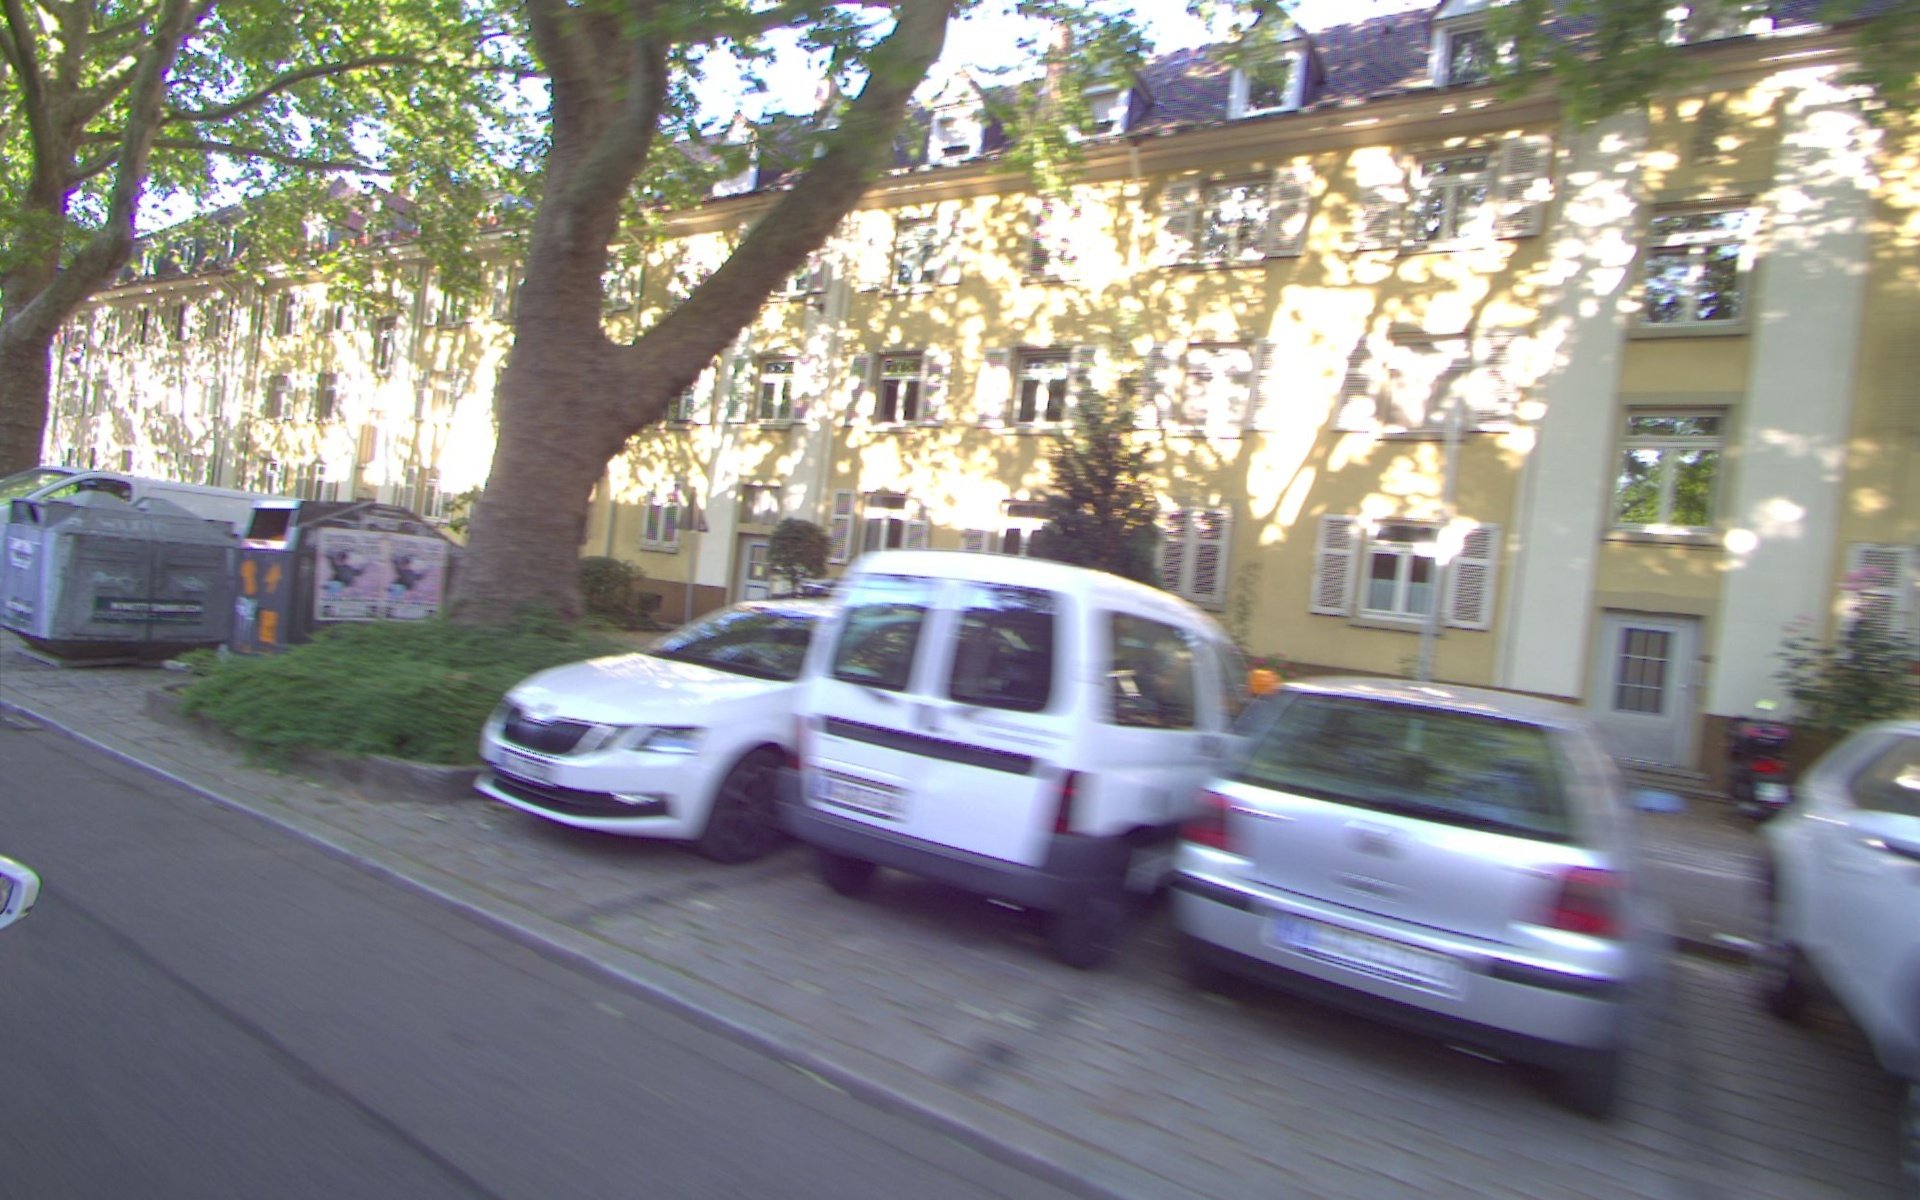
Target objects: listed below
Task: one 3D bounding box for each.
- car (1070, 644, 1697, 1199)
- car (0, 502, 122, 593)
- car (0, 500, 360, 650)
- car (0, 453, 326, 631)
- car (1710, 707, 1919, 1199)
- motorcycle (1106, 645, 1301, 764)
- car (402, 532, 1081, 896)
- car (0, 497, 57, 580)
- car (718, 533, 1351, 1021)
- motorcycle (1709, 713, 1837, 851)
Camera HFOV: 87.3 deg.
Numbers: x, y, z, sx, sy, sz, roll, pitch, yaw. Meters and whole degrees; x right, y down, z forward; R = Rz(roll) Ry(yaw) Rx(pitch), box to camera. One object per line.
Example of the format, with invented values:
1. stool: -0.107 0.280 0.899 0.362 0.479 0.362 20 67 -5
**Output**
1. car: 2.337 1.143 4.915 1.822 1.450 3.846 7 -1 35
2. car: -17.236 -1.082 16.961 1.776 1.397 4.399 6 -1 35
3. car: -9.926 -0.252 12.755 1.644 1.464 3.533 7 -1 29
4. car: -12.045 -0.798 14.090 2.030 1.987 4.846 7 -1 29
5. car: 4.078 1.284 3.399 1.884 1.539 4.095 6 -1 30
6. motorcycle: 3.109 1.306 12.957 2.226 1.168 0.716 7 1 32
7. car: -1.076 0.681 6.901 1.773 1.560 4.373 8 -1 35
8. car: -19.661 -1.393 18.393 1.866 1.501 4.254 7 -1 31
9. car: 0.761 0.814 5.990 1.887 1.793 3.846 7 -1 35
10. motorcycle: 9.046 1.969 11.270 0.701 1.265 1.993 7 -1 31
